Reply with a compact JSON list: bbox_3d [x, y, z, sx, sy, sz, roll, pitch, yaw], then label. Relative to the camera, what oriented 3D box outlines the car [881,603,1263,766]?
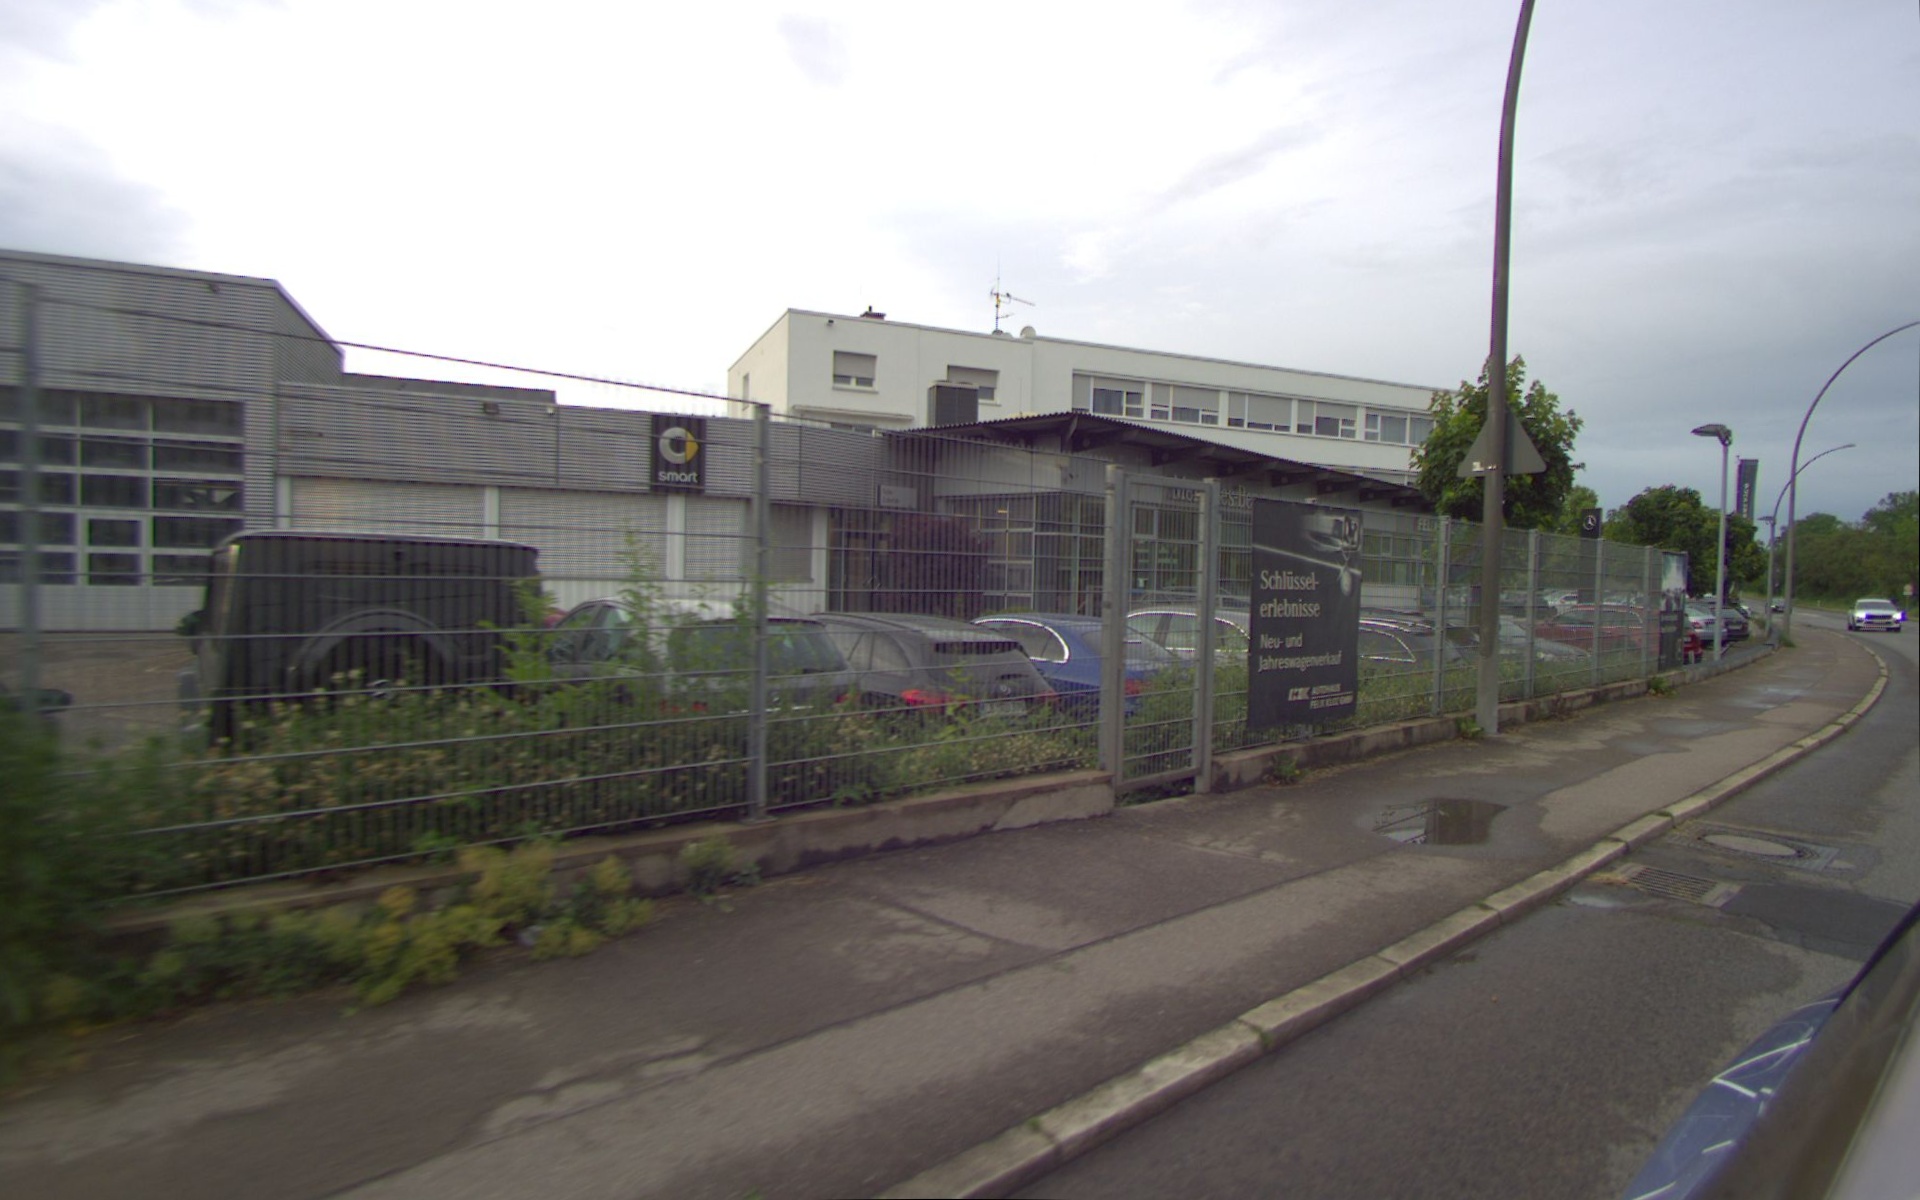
[{"bbox_3d":[1.088,0.781,11.337,1.965,1.421,3.994,-2,1,-40],"label":"car"}]

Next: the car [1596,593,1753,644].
[{"bbox_3d":[24.548,0.587,34.959,1.798,1.485,4.185,0,3,-15],"label":"car"}]

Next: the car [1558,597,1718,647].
[{"bbox_3d":[22.208,0.677,33.345,1.934,1.511,3.977,-1,1,-20],"label":"car"}]

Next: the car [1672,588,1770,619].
[{"bbox_3d":[45.884,0.184,61.108,4.347,1.673,1.926,1,1,3],"label":"car"}]

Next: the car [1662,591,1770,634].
[{"bbox_3d":[32.597,0.494,43.809,1.812,1.628,4.537,3,1,10],"label":"car"}]

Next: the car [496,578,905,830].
[{"bbox_3d":[-2.261,0.594,7.947,1.756,1.421,3.998,-1,1,-36],"label":"car"}]

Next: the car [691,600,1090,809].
[{"bbox_3d":[-0.854,0.780,9.664,1.793,1.452,3.995,0,1,-40],"label":"car"}]

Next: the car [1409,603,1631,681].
[{"bbox_3d":[12.256,0.857,22.481,1.772,1.459,4.174,1,1,-19],"label":"car"}]

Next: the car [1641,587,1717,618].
[{"bbox_3d":[41.951,0.152,59.072,3.484,1.619,1.668,1,2,-15],"label":"car"}]

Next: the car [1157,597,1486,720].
[{"bbox_3d":[4.867,0.709,13.985,3.985,1.426,1.569,-1,1,43],"label":"car"}]

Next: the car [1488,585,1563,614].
[{"bbox_3d":[32.963,-0.031,59.091,1.743,1.496,3.571,2,2,-14],"label":"car"}]

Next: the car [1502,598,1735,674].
[{"bbox_3d":[16.455,0.824,25.632,1.958,1.683,4.707,-1,1,-20],"label":"car"}]

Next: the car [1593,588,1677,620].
[{"bbox_3d":[37.092,0.199,55.600,4.091,1.619,1.736,1,2,-21],"label":"car"}]

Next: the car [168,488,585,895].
[{"bbox_3d":[-4.202,0.424,6.927,1.742,1.917,4.142,-1,0,-40],"label":"car"}]

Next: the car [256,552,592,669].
[{"bbox_3d":[-7.403,0.091,14.353,3.918,1.438,2.003,-2,0,-25],"label":"car"}]

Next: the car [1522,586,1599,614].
[{"bbox_3d":[36.342,-0.017,61.274,3.915,1.564,1.908,1,1,-18],"label":"car"}]

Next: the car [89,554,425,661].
[{"bbox_3d":[-10.491,0.075,15.513,3.918,1.438,2.003,-2,0,-25],"label":"car"}]

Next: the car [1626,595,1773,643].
[{"bbox_3d":[26.520,0.620,36.460,1.859,1.575,4.008,-1,1,-13],"label":"car"}]
